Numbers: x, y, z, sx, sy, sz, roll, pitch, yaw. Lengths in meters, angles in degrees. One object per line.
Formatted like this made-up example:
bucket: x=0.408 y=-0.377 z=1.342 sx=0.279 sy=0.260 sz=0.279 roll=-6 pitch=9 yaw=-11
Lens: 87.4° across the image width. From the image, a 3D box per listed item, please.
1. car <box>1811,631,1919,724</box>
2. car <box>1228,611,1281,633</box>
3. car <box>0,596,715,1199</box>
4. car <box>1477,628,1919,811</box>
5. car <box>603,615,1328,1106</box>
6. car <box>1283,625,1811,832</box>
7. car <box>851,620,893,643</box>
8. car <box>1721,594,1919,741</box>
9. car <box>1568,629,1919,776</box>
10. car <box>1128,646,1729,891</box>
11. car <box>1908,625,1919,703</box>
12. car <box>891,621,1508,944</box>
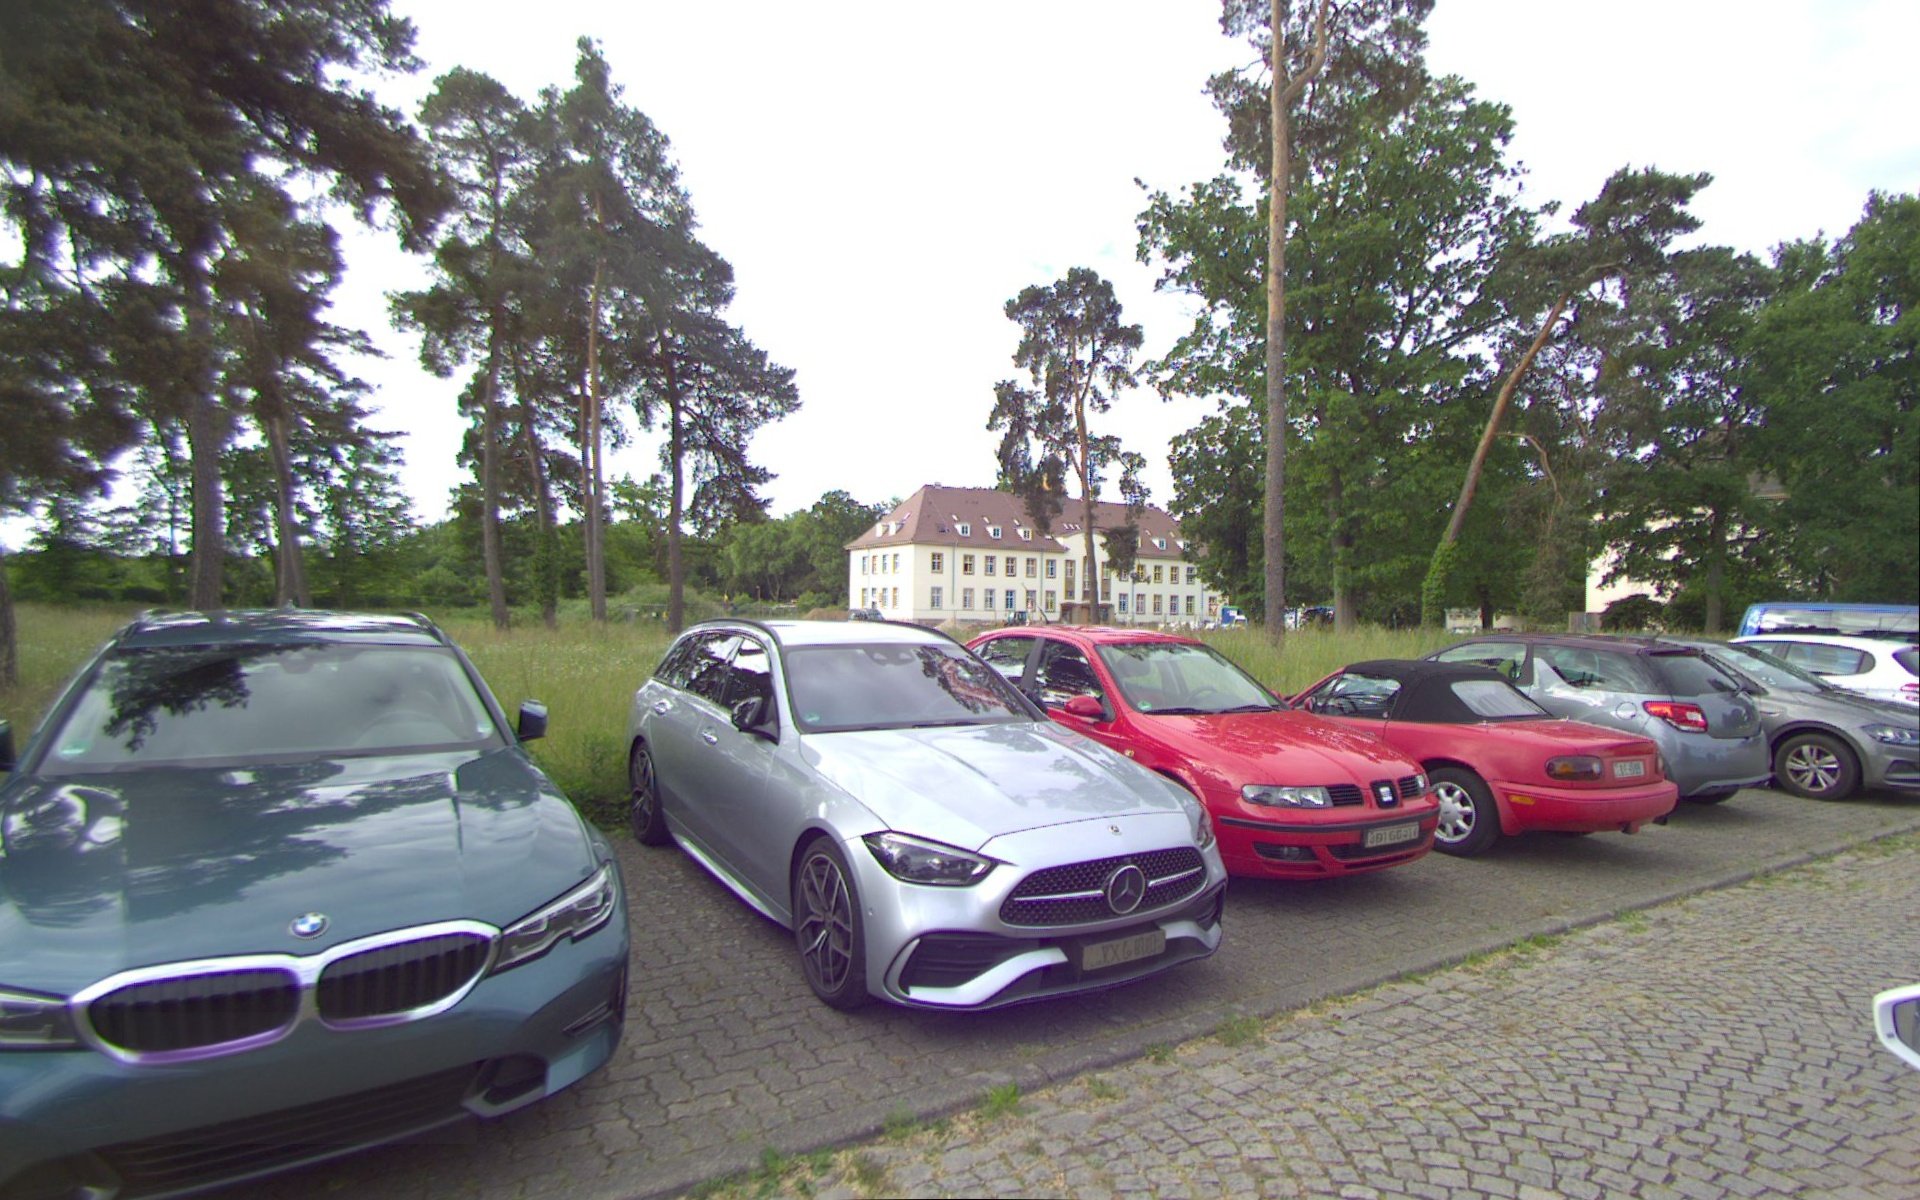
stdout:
car: x=17.055 y=1.318 z=16.697 sx=1.763 sy=1.530 sz=4.141 roll=1 pitch=-1 yaw=-34
car: x=29.140 y=2.152 z=99.353 sx=5.168 sy=2.040 sz=1.984 roll=2 pitch=-2 yaw=-30
car: x=-2.688 y=0.799 z=4.033 sx=1.916 sy=1.568 sz=4.222 roll=1 pitch=-1 yaw=-35
car: x=8.069 y=1.090 z=10.817 sx=1.843 sy=1.511 sz=4.146 roll=1 pitch=-1 yaw=-30
car: x=-0.427 y=0.865 z=5.533 sx=1.915 sy=1.527 sz=4.347 roll=1 pitch=-1 yaw=-34
car: x=5.420 y=1.031 z=9.860 sx=1.824 sy=1.502 sz=4.145 roll=1 pitch=-1 yaw=-31
car: x=-9.314 y=3.284 z=105.969 sx=1.983 sy=2.229 sz=4.981 roll=1 pitch=-1 yaw=-39
car: x=14.877 y=1.010 z=15.359 sx=2.092 sy=2.150 sz=4.755 roll=1 pitch=-1 yaw=-32
car: x=10.313 y=1.170 z=12.787 sx=1.824 sy=1.517 sz=4.047 roll=1 pitch=-1 yaw=-31
car: x=3.398 y=1.085 z=8.128 sx=1.810 sy=1.283 sz=4.146 roll=1 pitch=-1 yaw=-30
car: x=22.173 y=1.369 z=20.256 sx=1.966 sy=1.644 sz=4.140 roll=1 pitch=-1 yaw=-34
car: x=1.301 y=0.926 z=7.066 sx=1.844 sy=1.496 sz=4.143 roll=1 pitch=-1 yaw=-32
